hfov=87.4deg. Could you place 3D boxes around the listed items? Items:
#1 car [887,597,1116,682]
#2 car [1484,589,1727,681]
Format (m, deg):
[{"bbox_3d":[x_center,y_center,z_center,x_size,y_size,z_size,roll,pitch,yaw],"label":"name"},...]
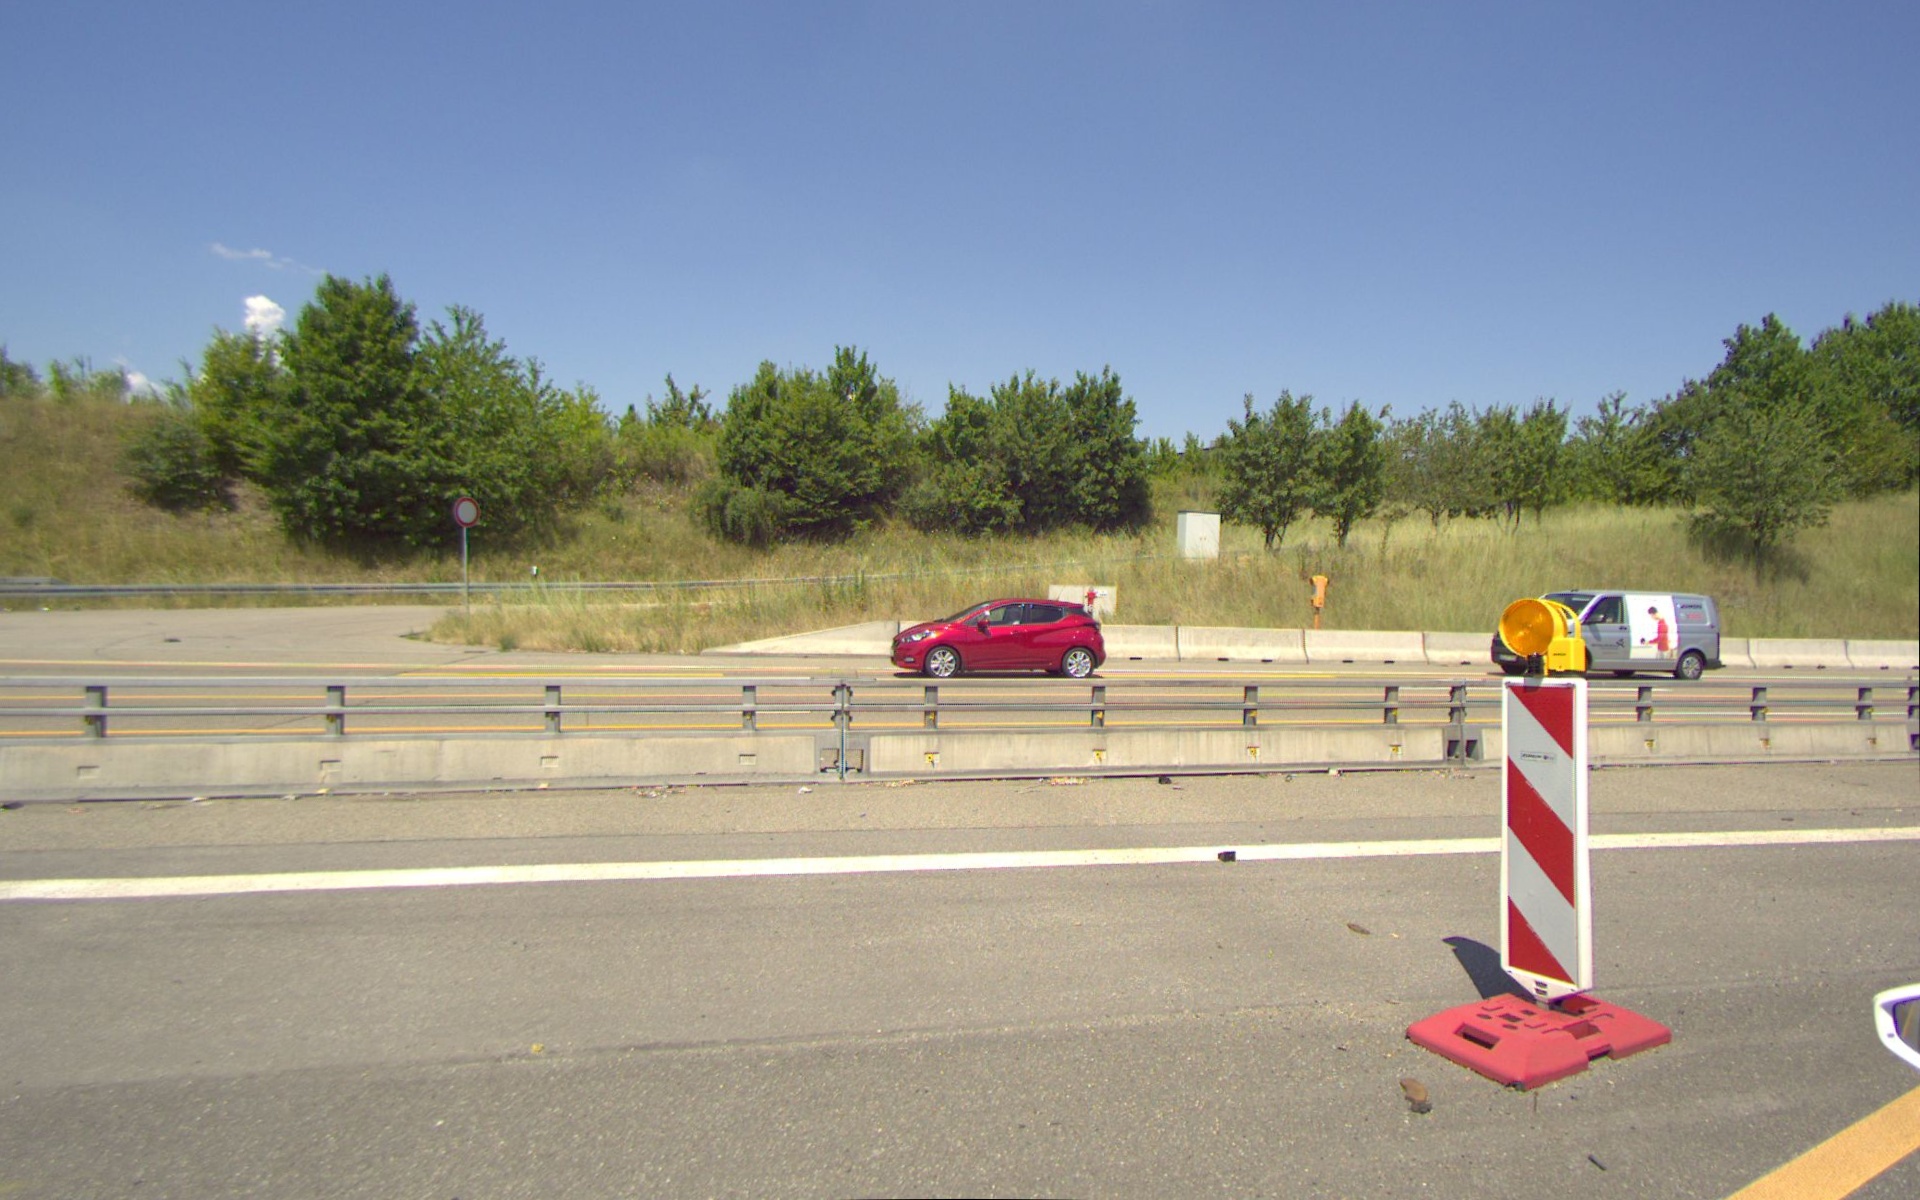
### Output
[{"bbox_3d":[0.704,0.708,18.524,3.928,1.413,1.690,2,0,-10],"label":"car"},{"bbox_3d":[14.191,0.777,22.121,4.705,1.859,1.688,2,0,-13],"label":"car"}]
